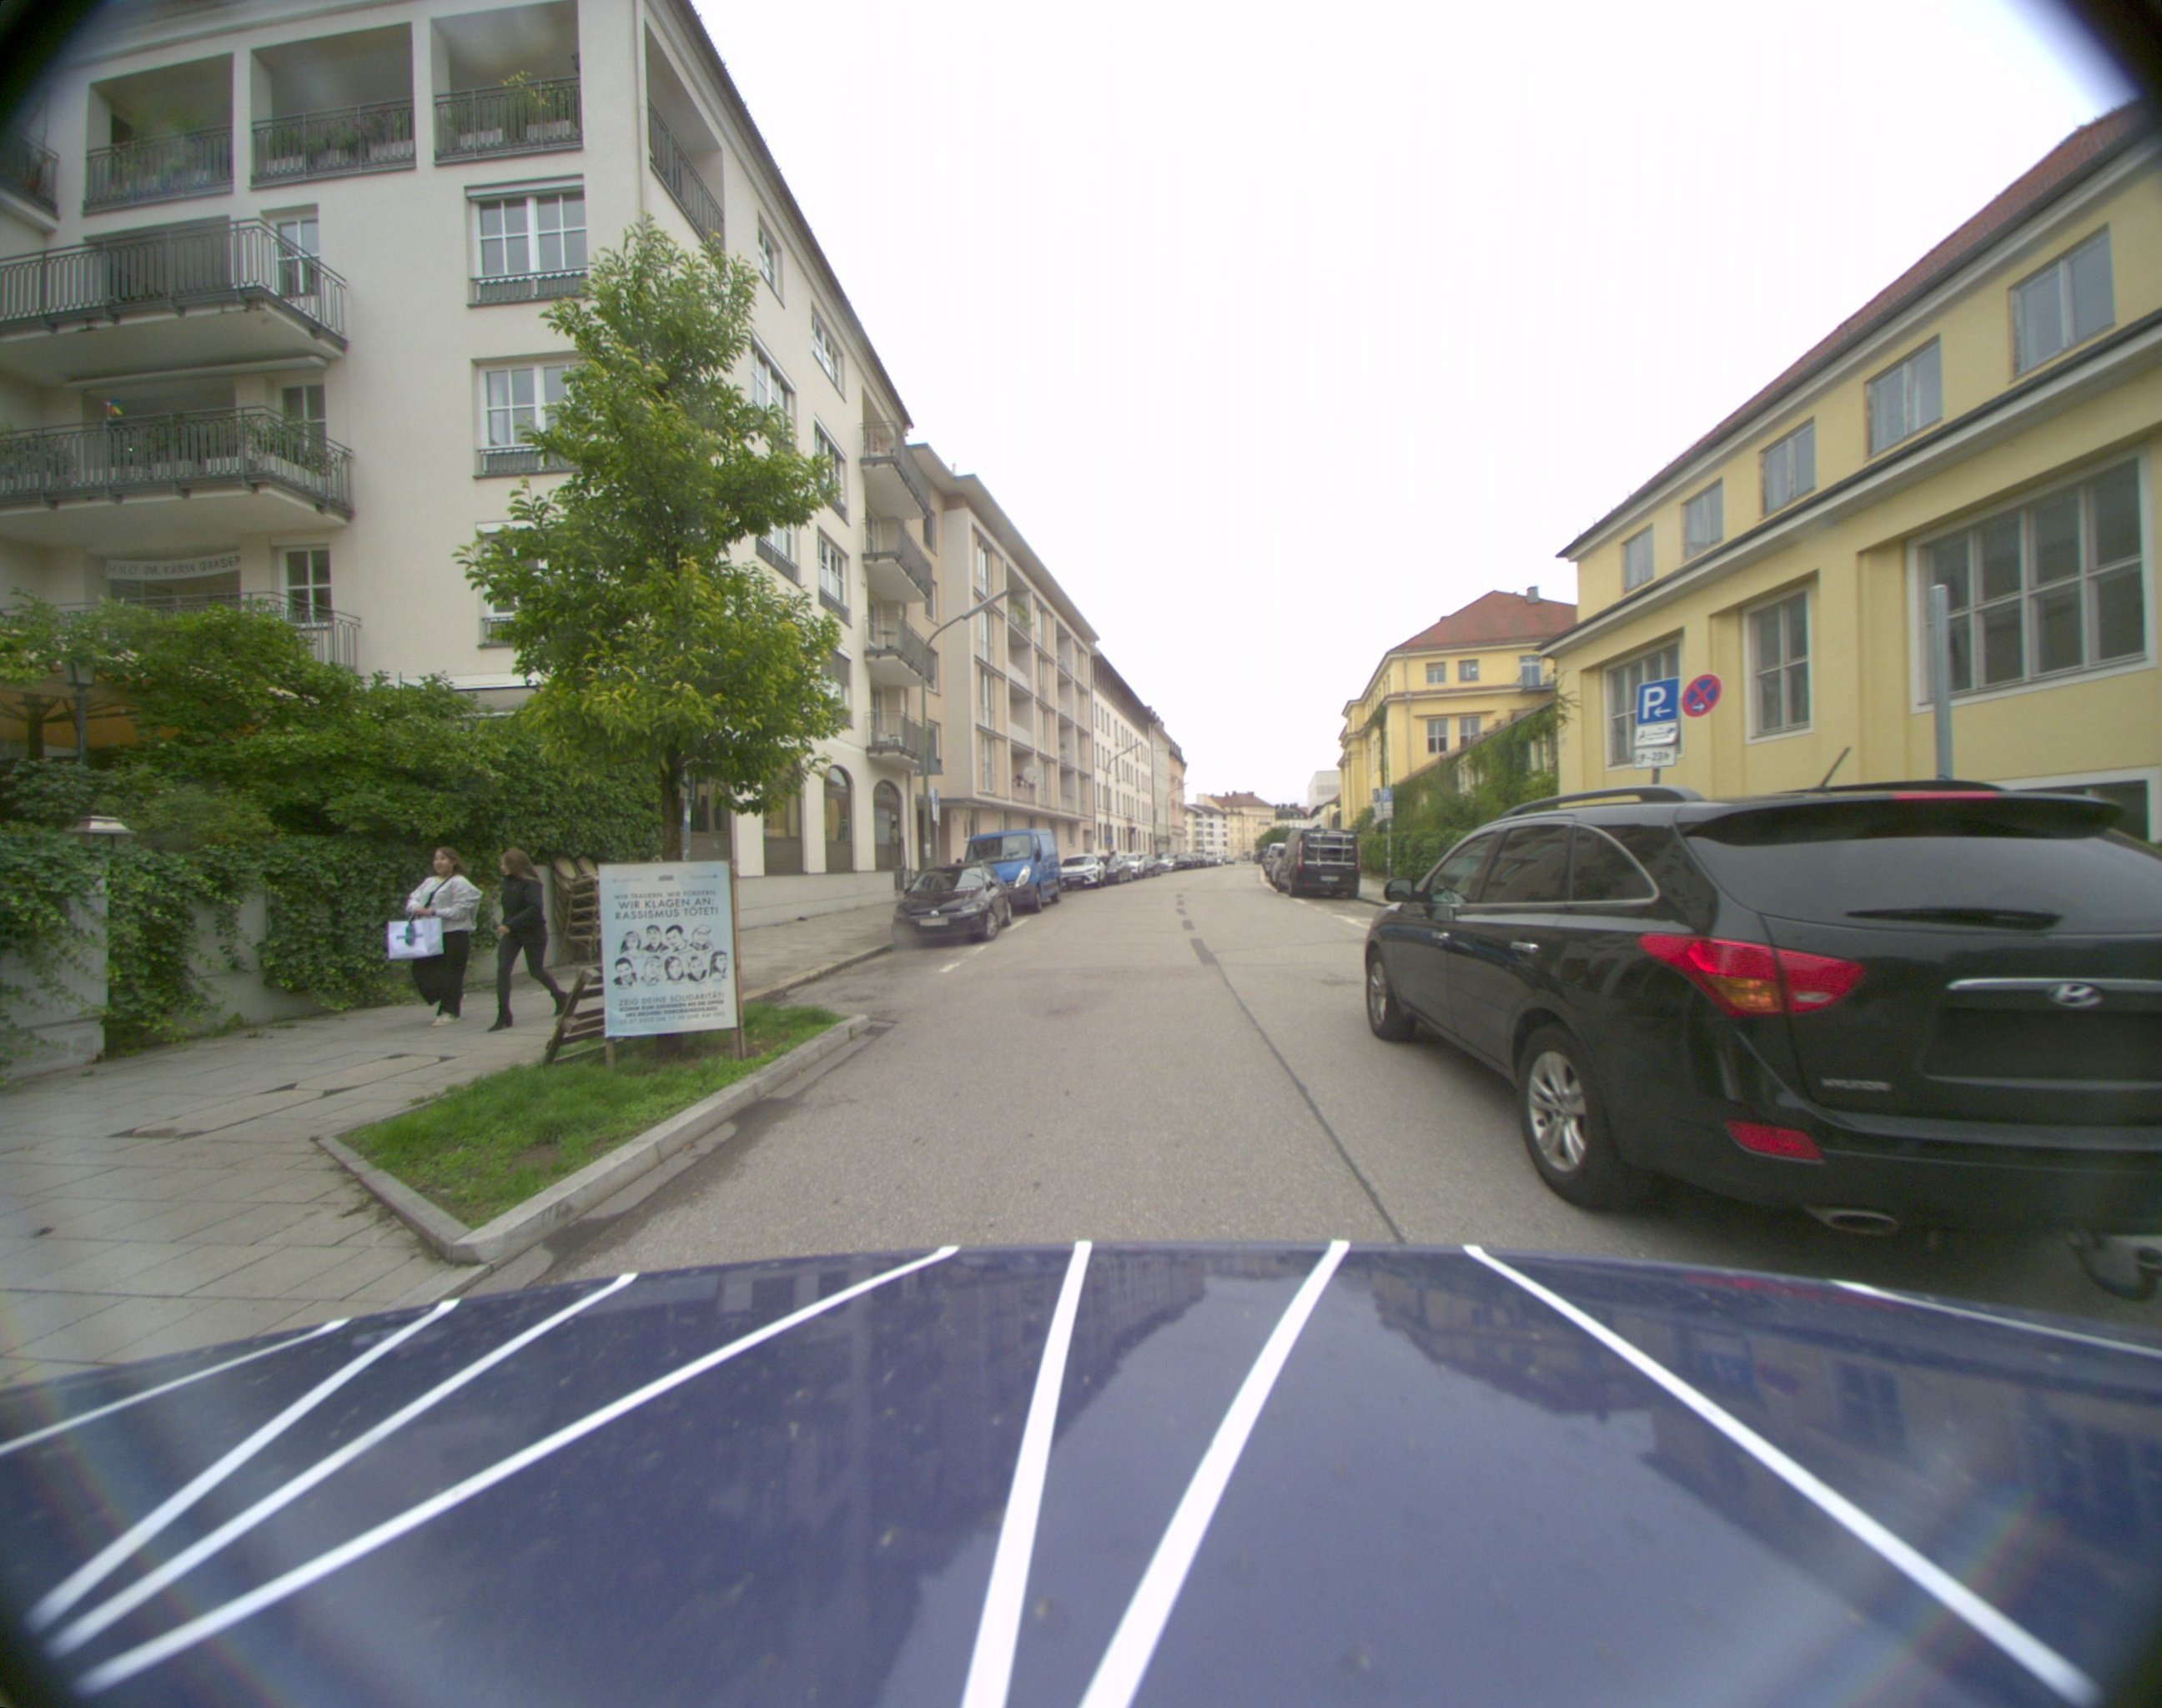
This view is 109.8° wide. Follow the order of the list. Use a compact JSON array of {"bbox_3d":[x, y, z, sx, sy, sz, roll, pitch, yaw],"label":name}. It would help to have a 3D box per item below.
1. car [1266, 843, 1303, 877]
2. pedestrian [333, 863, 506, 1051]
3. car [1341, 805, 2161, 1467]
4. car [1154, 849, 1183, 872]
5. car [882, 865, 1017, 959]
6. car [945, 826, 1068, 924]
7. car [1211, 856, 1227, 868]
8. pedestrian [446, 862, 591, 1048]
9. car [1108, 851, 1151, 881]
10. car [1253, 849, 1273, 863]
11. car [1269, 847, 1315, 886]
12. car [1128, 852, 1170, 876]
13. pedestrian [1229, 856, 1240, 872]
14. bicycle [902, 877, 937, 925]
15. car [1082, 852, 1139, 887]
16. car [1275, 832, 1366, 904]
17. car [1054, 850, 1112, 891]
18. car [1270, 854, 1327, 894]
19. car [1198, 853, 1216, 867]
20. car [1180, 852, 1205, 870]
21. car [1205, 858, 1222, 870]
[{"bbox_3d":[11.884,0.319,44.636,1.895,1.788,4.886,3,1,13],"label":"car"},{"bbox_3d":[-6.045,0.899,6.999,0.808,1.597,0.830,0,1,5],"label":"pedestrian"},{"bbox_3d":[3.050,0.738,4.251,1.998,1.709,4.617,-1,0,6],"label":"car"},{"bbox_3d":[6.701,0.488,57.821,1.617,1.507,3.384,-5,-1,14],"label":"car"},{"bbox_3d":[-2.394,1.015,14.852,1.718,1.386,4.000,-5,0,2],"label":"car"},{"bbox_3d":[-1.865,0.440,21.128,2.113,2.201,5.029,-6,1,7],"label":"car"},{"bbox_3d":[20.533,1.197,112.900,1.999,1.563,4.496,-4,-1,14],"label":"car"},{"bbox_3d":[-5.228,0.895,7.118,0.680,1.619,0.830,0,1,3],"label":"pedestrian"},{"bbox_3d":[2.789,0.652,42.682,1.705,1.459,4.124,-5,-1,12],"label":"car"},{"bbox_3d":[33.917,0.427,141.680,2.845,2.536,6.897,0,0,7],"label":"car"},{"bbox_3d":[9.442,0.512,34.261,1.704,1.597,4.495,2,0,12],"label":"car"},{"bbox_3d":[4.286,0.605,47.342,1.830,1.373,4.496,-4,-1,14],"label":"car"},{"bbox_3d":[29.312,1.908,144.689,1.927,2.933,2.027,0,0,14],"label":"pedestrian"},{"bbox_3d":[-3.930,1.113,18.585,0.566,1.063,1.787,-1,0,-3],"label":"bicycle"},{"bbox_3d":[1.544,0.722,37.785,1.775,1.420,4.698,-6,-1,14],"label":"car"},{"bbox_3d":[7.376,0.400,23.873,1.929,1.967,4.625,2,0,8],"label":"car"},{"bbox_3d":[0.151,0.681,32.418,1.779,1.513,4.307,-5,-1,8],"label":"car"},{"bbox_3d":[8.309,0.722,29.286,1.709,1.357,4.005,3,0,11],"label":"car"},{"bbox_3d":[15.061,0.718,90.658,1.767,1.531,4.004,-4,-1,14],"label":"car"},{"bbox_3d":[9.924,0.591,67.324,1.876,1.439,4.705,-3,-1,12],"label":"car"},{"bbox_3d":[16.981,1.259,97.412,1.723,1.457,4.197,-4,-1,15],"label":"car"}]
